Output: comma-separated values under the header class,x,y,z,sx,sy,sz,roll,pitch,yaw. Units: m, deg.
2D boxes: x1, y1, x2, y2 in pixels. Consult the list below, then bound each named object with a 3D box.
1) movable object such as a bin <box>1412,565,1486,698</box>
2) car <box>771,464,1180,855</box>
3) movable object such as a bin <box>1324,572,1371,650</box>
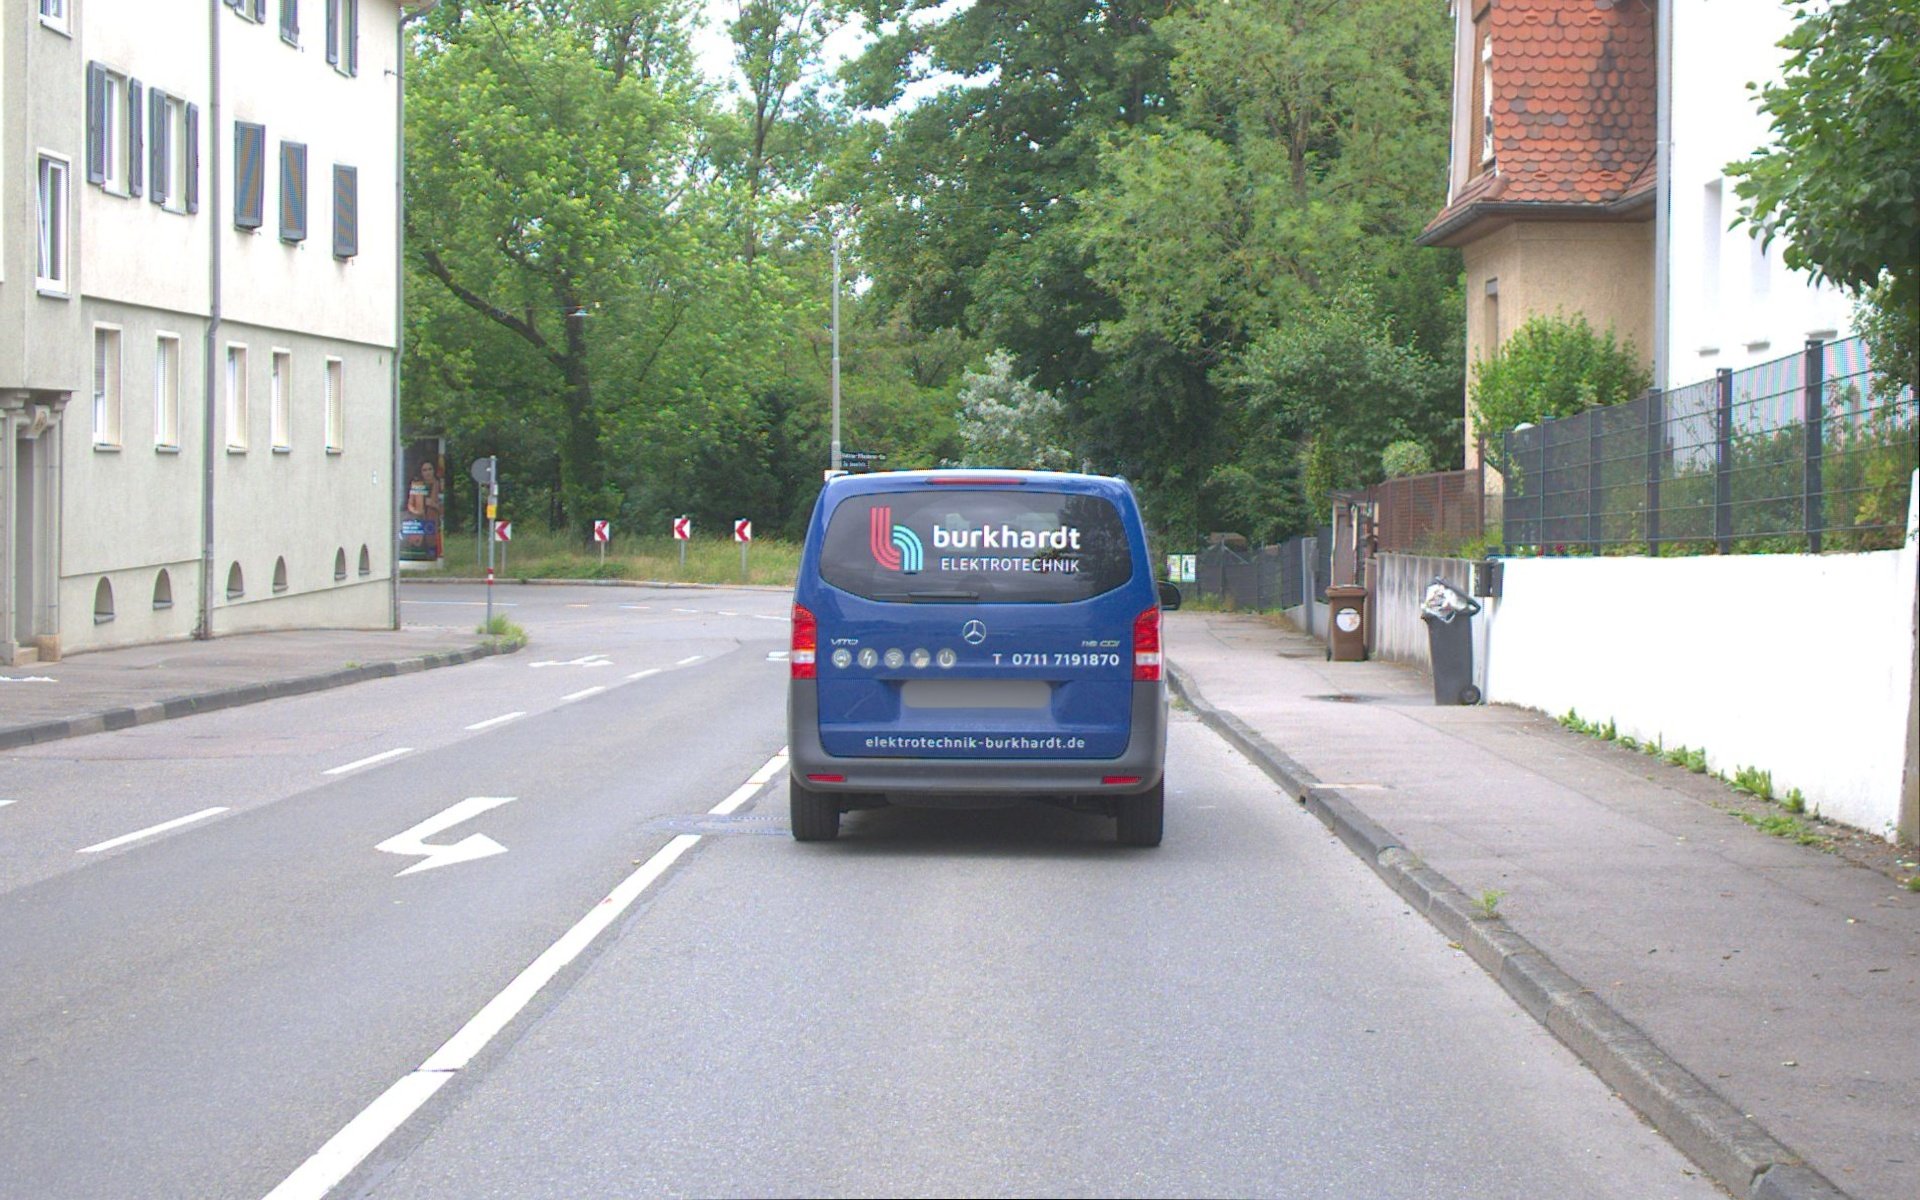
class,x,y,z,sx,sy,sz,roll,pitch,yaw
movable object such as a bin,4.476,0.280,31.475,0.528,1.174,0.634,-3,1,0
car,0.023,0.259,18.330,1.913,1.831,4.294,0,1,-1
movable object such as a bin,4.714,0.130,41.820,0.461,0.921,0.566,-3,1,0
